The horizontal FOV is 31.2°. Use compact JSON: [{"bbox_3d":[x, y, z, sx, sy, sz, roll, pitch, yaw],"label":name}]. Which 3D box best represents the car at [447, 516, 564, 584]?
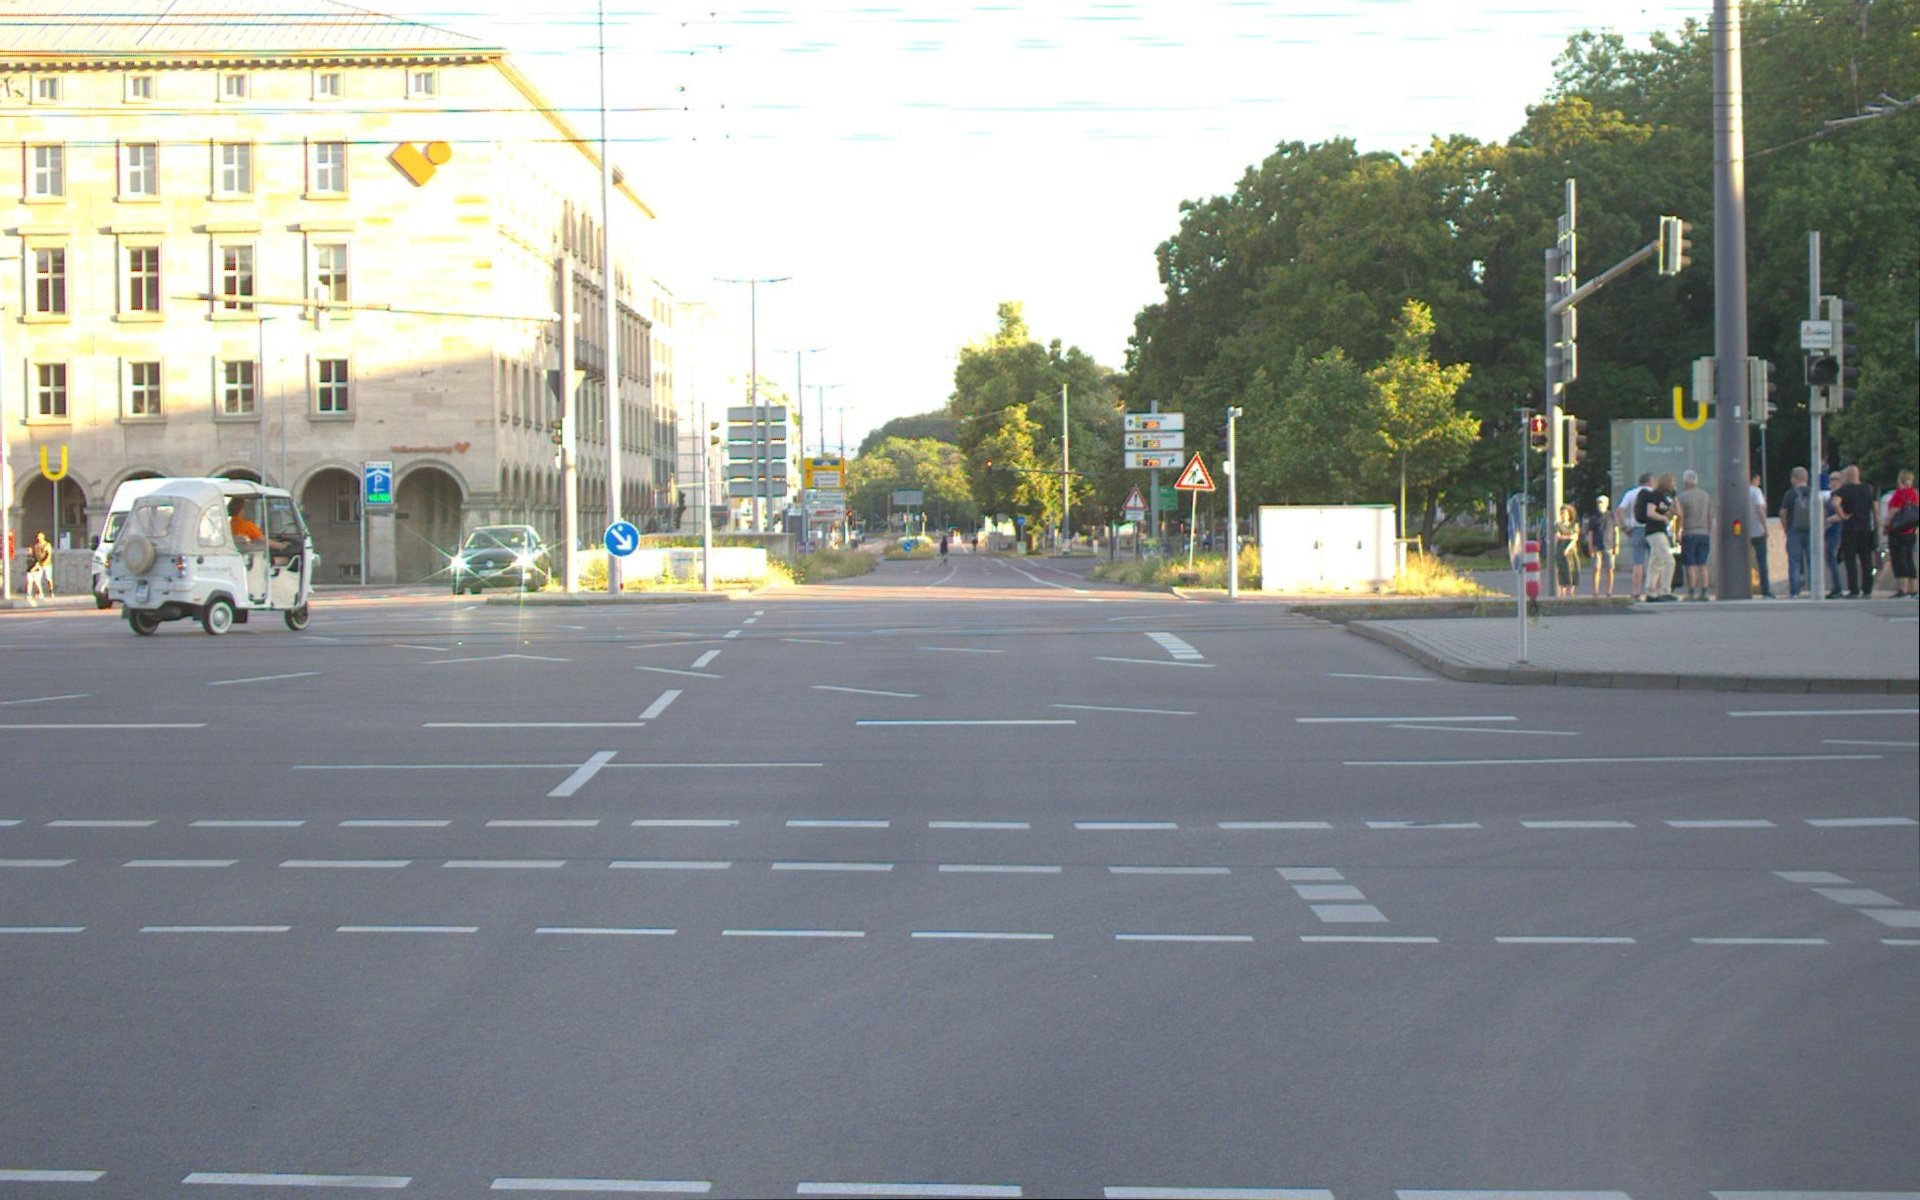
[{"bbox_3d":[-9.561,-1.073,72.634,1.823,1.337,4.000,-1,2,2],"label":"car"}]

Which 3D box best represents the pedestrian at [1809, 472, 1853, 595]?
[{"bbox_3d":[11.936,-0.919,47.129,0.572,1.673,0.638,0,2,14],"label":"pedestrian"}]

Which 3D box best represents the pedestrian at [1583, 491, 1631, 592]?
[{"bbox_3d":[11.395,-1.032,60.560,0.680,1.751,0.901,0,2,20],"label":"pedestrian"}]

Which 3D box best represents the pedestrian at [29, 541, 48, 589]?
[{"bbox_3d":[-24.669,-0.935,92.024,0.420,1.296,0.460,1,0,-5],"label":"pedestrian"}]

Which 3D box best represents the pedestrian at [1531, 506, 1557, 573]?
[{"bbox_3d":[15.356,-1.592,90.368,0.642,1.754,0.524,0,2,8],"label":"pedestrian"}]

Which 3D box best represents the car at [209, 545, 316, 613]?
[{"bbox_3d":[-16.437,-0.513,81.201,1.738,1.482,4.001,-1,2,-1],"label":"car"}]

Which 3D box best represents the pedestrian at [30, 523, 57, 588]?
[{"bbox_3d":[-24.816,-1.204,93.058,0.621,1.738,0.460,1,0,-5],"label":"pedestrian"}]

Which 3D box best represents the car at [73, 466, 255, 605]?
[{"bbox_3d":[-16.698,-1.382,72.480,2.279,2.766,6.084,-1,2,1],"label":"car"}]

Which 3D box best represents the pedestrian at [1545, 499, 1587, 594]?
[{"bbox_3d":[10.704,-0.946,60.701,0.560,1.649,0.901,0,2,20],"label":"pedestrian"}]

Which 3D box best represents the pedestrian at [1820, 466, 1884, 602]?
[{"bbox_3d":[11.841,-0.879,45.641,0.805,1.785,0.800,0,2,14],"label":"pedestrian"}]

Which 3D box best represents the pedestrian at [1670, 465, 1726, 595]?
[{"bbox_3d":[9.809,-0.935,45.709,0.711,1.719,0.668,0,2,13],"label":"pedestrian"}]

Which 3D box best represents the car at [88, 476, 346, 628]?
[{"bbox_3d":[-8.609,-0.580,40.003,1.485,1.690,2.971,0,2,22],"label":"car"}]

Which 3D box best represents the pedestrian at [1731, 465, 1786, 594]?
[{"bbox_3d":[10.806,-0.962,46.537,0.711,1.719,0.914,0,2,13],"label":"pedestrian"}]

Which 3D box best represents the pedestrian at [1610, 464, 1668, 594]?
[{"bbox_3d":[9.052,-0.947,45.820,0.711,1.719,0.668,0,2,15],"label":"pedestrian"}]

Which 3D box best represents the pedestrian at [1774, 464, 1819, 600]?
[{"bbox_3d":[11.107,-0.902,45.647,0.572,1.785,0.638,0,2,14],"label":"pedestrian"}]

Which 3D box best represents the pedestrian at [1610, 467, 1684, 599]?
[{"bbox_3d":[9.016,-0.879,45.093,0.912,1.719,0.713,0,2,14],"label":"pedestrian"}]

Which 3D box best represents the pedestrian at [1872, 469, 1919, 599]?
[{"bbox_3d":[12.668,-0.886,46.012,0.845,1.728,0.705,0,2,12],"label":"pedestrian"}]

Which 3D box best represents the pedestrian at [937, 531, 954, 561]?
[{"bbox_3d":[-0.812,-3.048,194.721,0.906,1.665,1.307,-1,2,-1],"label":"pedestrian"}]

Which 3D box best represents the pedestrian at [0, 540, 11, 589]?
[{"bbox_3d":[-25.763,-0.955,92.132,0.505,1.296,0.701,1,0,-5],"label":"pedestrian"}]
